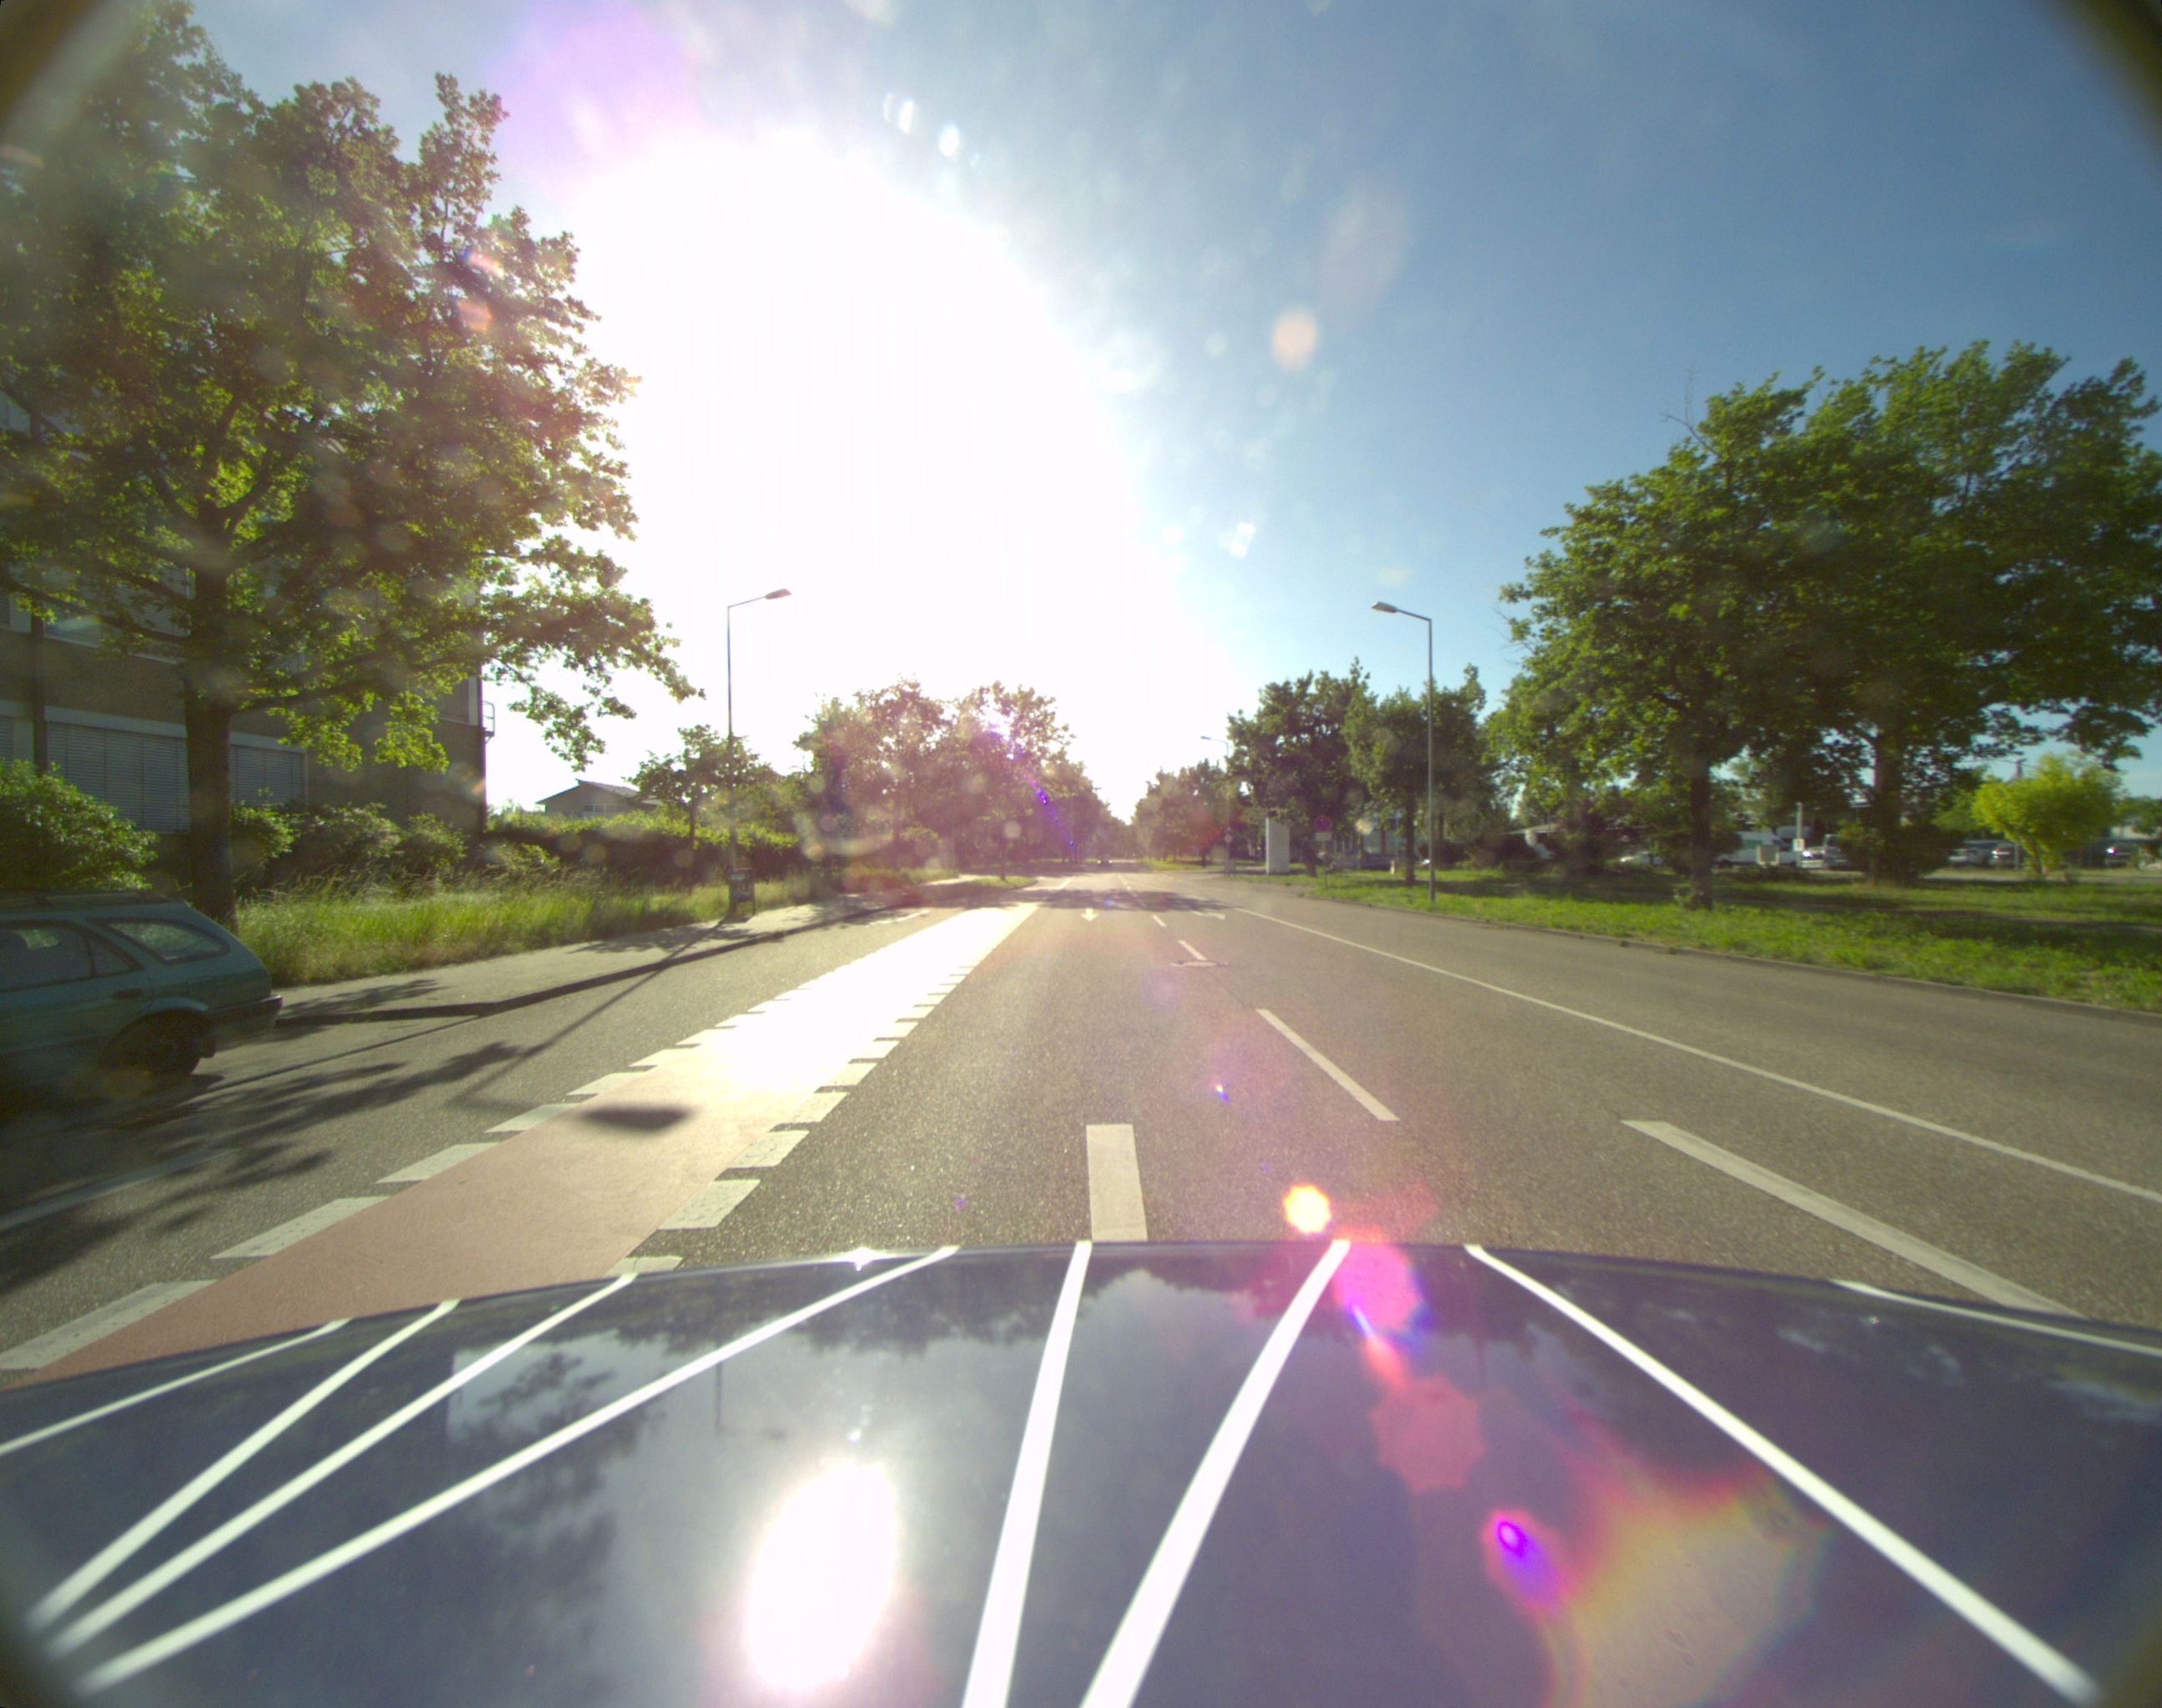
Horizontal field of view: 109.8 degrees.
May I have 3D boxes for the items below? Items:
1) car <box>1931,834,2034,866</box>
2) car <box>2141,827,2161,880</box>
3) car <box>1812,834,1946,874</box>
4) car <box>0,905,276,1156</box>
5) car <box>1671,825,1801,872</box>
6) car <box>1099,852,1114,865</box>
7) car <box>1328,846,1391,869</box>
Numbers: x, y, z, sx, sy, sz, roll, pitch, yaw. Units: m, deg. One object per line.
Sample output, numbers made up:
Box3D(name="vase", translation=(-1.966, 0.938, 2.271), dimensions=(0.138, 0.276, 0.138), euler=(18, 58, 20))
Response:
Box3D(name="car", translation=(52.085, -0.223, 43.948), dimensions=(3.860, 1.661, 1.762), euler=(-2, 1, 0))
Box3D(name="car", translation=(33.885, -0.097, 22.027), dimensions=(3.817, 1.562, 1.736), euler=(-2, -1, 0))
Box3D(name="car", translation=(40.058, -0.018, 38.208), dimensions=(4.642, 1.771, 1.990), euler=(-2, 1, 0))
Box3D(name="car", translation=(-7.527, 1.132, 4.207), dimensions=(1.706, 1.460, 4.141), euler=(-1, -1, 0))
Box3D(name="car", translation=(39.897, -0.351, 46.385), dimensions=(6.023, 2.540, 2.409), euler=(-2, 1, -4))
Box3D(name="car", translation=(3.052, 0.502, 90.703), dimensions=(1.653, 1.460, 3.941), euler=(-2, 0, 2))
Box3D(name="car", translation=(23.925, 0.288, 65.358), dimensions=(4.637, 1.822, 2.000), euler=(-2, 1, 0))
